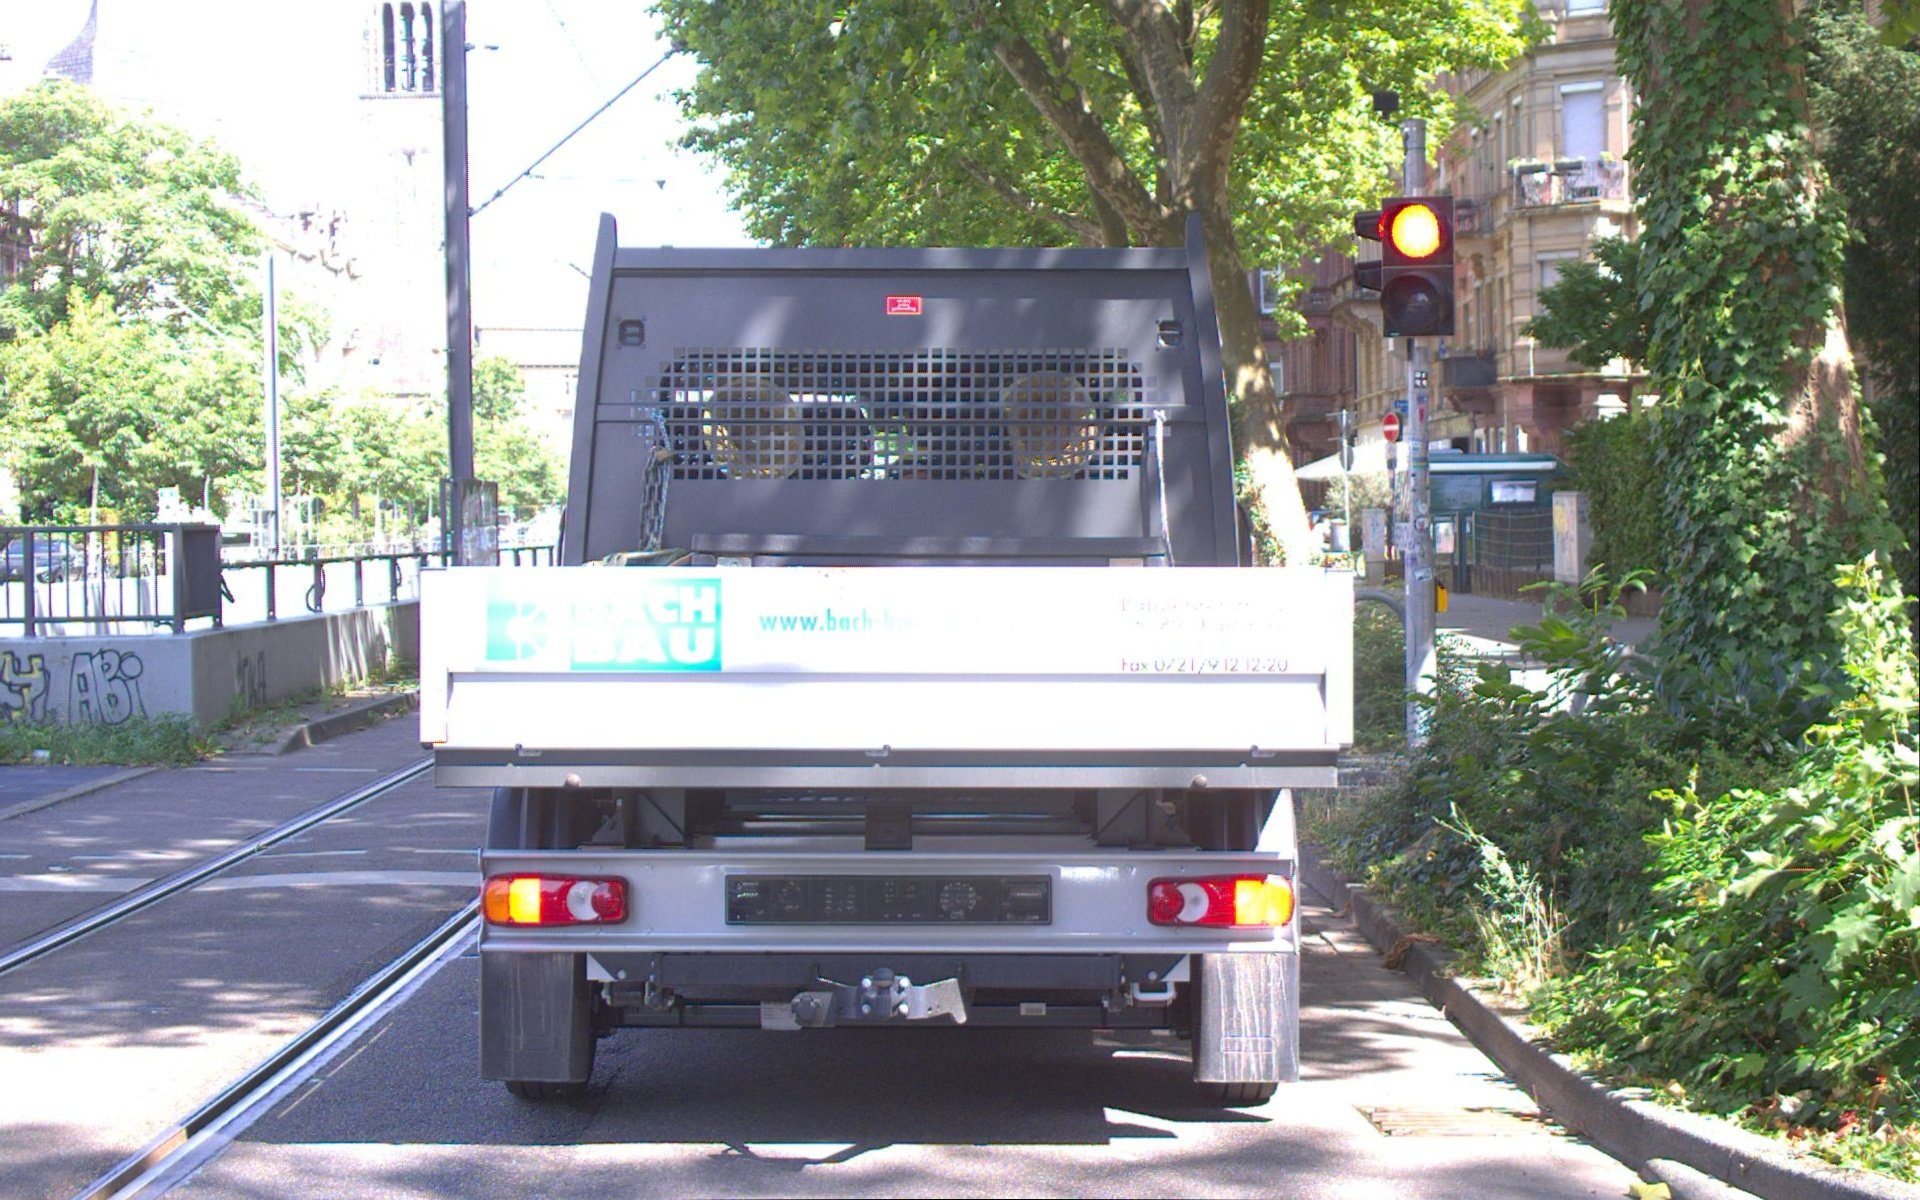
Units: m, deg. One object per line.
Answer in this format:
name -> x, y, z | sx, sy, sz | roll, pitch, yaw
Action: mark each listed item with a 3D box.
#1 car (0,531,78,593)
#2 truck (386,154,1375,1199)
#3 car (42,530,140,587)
car -> -23.543, -0.966, 86.469 | 1.770, 1.493, 4.001 | -1, 1, -2
truck -> -0.169, 0.142, 9.715 | 2.138, 2.311, 4.402 | 1, 1, 0
car -> -23.812, -1.145, 94.304 | 1.770, 1.493, 4.001 | -1, 1, -2
